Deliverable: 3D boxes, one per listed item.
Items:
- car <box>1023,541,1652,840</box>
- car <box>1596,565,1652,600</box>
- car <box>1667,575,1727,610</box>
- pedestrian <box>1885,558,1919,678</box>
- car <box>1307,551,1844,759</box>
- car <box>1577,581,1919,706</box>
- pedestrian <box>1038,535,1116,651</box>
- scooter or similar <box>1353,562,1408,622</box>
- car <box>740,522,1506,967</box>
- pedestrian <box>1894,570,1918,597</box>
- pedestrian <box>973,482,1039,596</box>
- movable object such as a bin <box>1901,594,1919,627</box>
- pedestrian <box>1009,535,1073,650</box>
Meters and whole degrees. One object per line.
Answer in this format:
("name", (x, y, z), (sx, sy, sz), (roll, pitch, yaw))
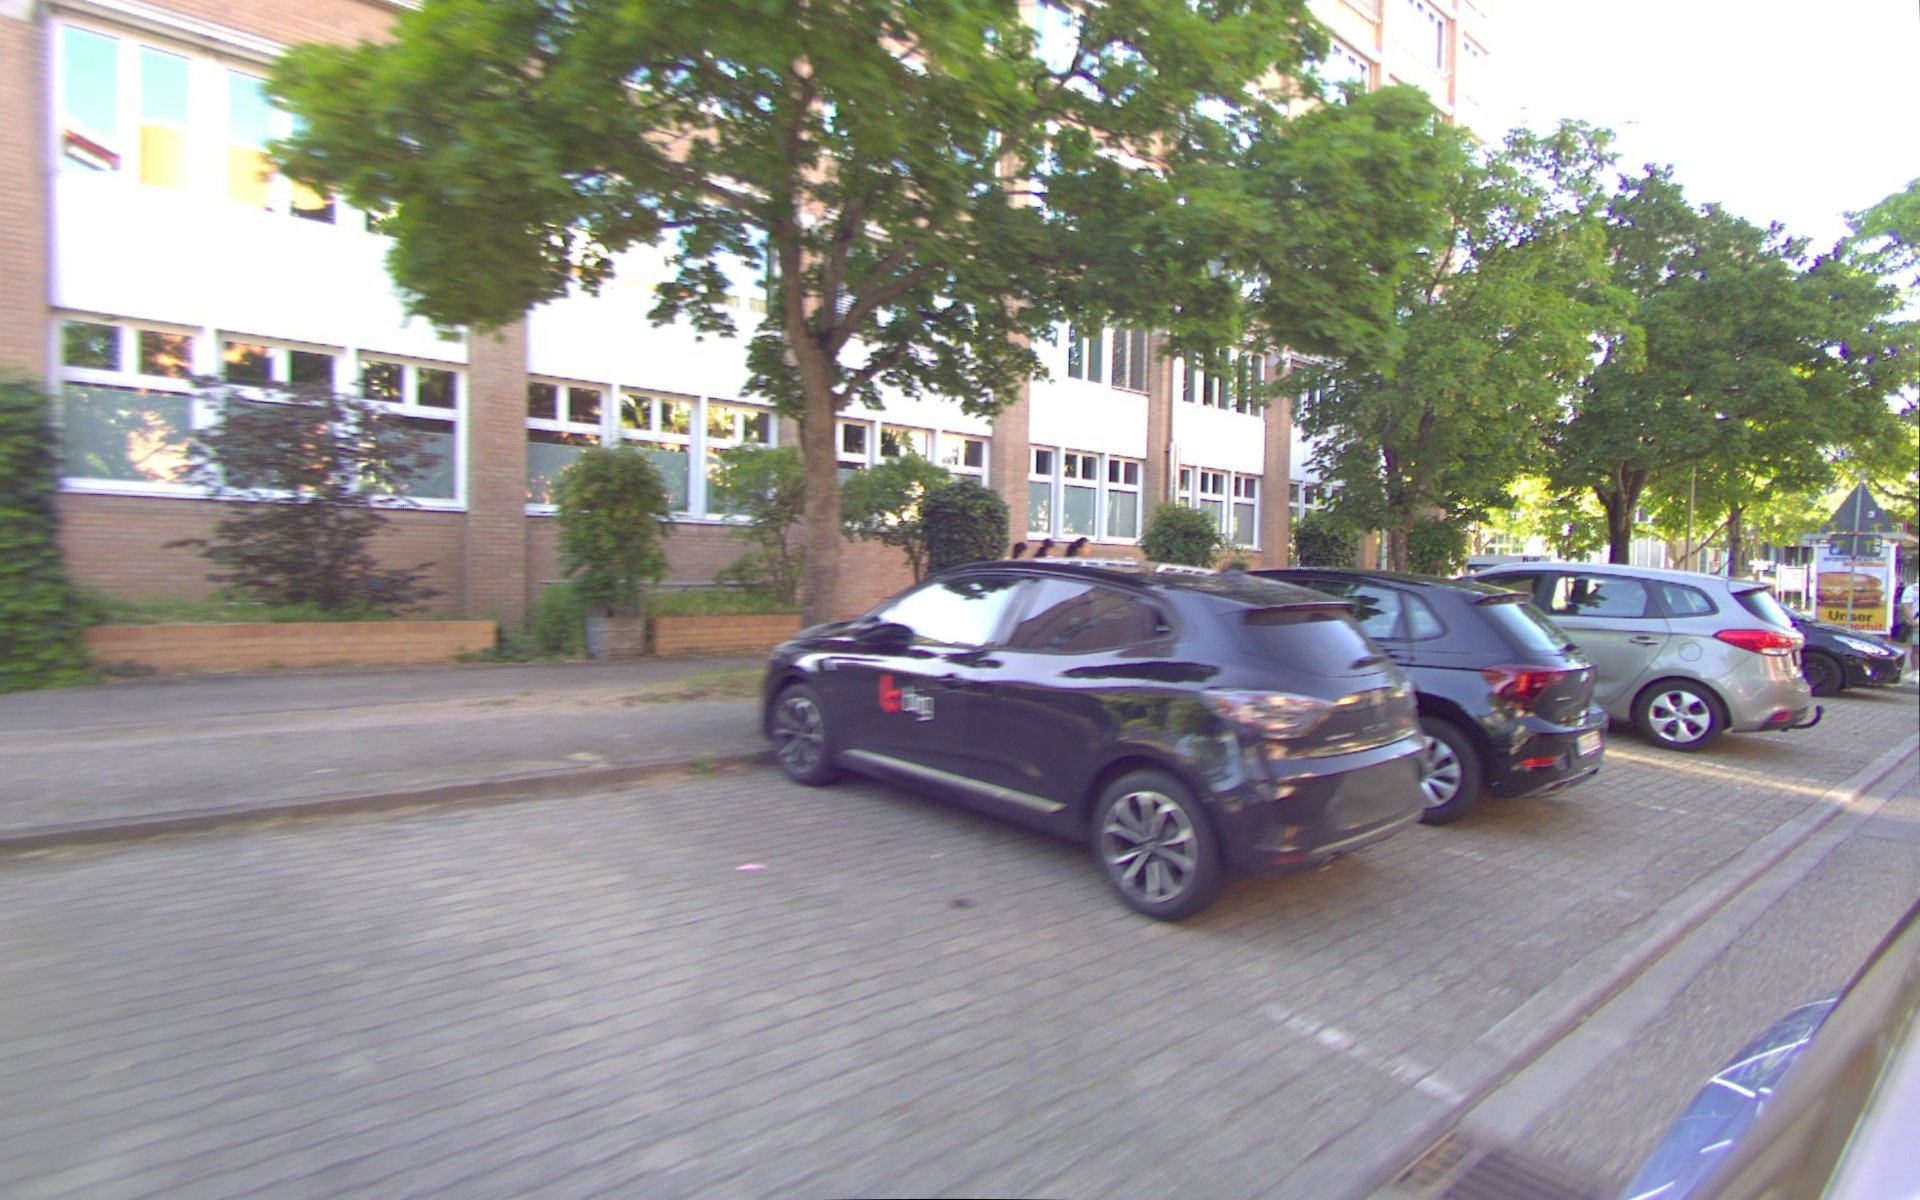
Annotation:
("car", (2.458, 0.396, 7.229), (3.804, 1.425, 1.674), (6, 4, 45))
("car", (29.411, -0.761, 44.776), (1.650, 1.480, 3.861), (2, 2, 40))
("car", (37.985, -0.416, 52.102), (4.295, 1.584, 1.740), (-4, 4, -43))
("pedestrian", (14.386, 0.283, 14.897), (0.916, 1.731, 0.689), (6, 4, 36))
("car", (6.064, 0.361, 10.331), (4.353, 1.617, 1.909), (4, 3, 44))
("car", (11.553, 0.516, 14.835), (1.744, 1.457, 3.941), (0, 3, -42))
("pedestrian", (1.546, -0.105, 13.335), (0.703, 1.476, 0.701), (0, 2, -43))
("scooter or similar", (9.733, -0.191, 23.394), (0.549, 1.342, 1.777), (0, 1, 44))
("car", (0.592, 0.408, 5.609), (1.794, 1.501, 3.853), (0, 4, -43))
("pedestrian", (62.910, -1.098, 67.302), (1.001, 1.821, 1.036), (-1, 1, -41))
("pedestrian", (0.655, -0.867, 14.496), (0.550, 1.571, 0.757), (0, 2, -43))
("movable object such as a bin", (22.625, 0.250, 24.054), (0.459, 0.762, 0.299), (-1, 4, -41))
("pedestrian", (1.111, -0.113, 13.933), (0.584, 1.539, 0.603), (0, 2, -43))
